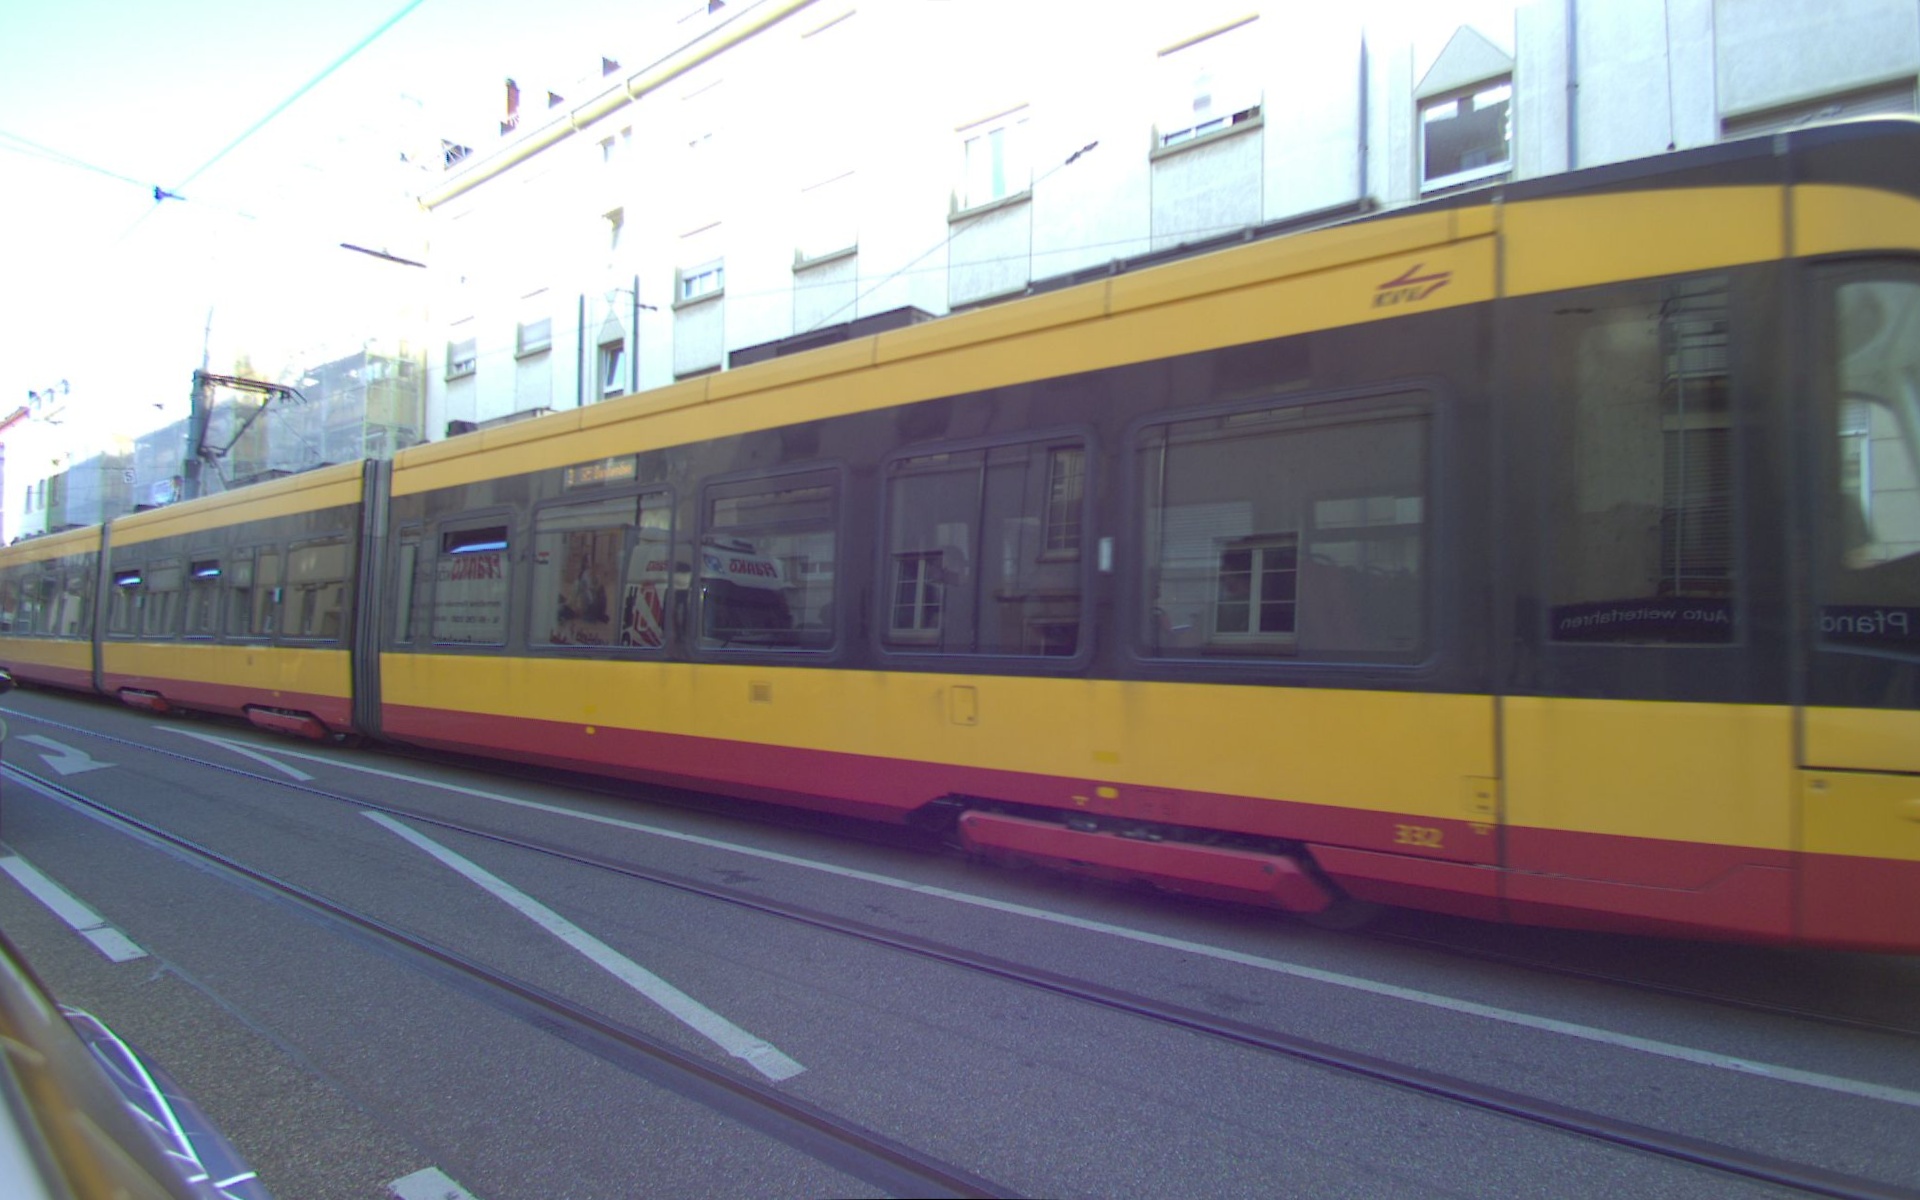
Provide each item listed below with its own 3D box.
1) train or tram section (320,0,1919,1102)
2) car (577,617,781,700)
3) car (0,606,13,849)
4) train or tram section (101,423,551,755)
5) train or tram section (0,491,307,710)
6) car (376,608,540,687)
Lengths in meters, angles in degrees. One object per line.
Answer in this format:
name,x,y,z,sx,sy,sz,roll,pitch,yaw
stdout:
train or tram section,-0.638,-0.226,7.767,14.247,3.659,2.718,-1,0,39
car,-5.012,0.969,17.931,3.483,1.286,1.730,-1,0,37
car,-8.006,0.810,6.984,3.997,1.515,1.670,-2,-3,40
train or tram section,-9.819,-0.073,15.070,9.072,3.658,2.798,-1,0,38
train or tram section,-18.318,0.149,21.873,12.613,3.621,3.032,-1,-3,38
car,-11.340,1.012,22.762,4.108,1.603,1.691,-1,0,38
